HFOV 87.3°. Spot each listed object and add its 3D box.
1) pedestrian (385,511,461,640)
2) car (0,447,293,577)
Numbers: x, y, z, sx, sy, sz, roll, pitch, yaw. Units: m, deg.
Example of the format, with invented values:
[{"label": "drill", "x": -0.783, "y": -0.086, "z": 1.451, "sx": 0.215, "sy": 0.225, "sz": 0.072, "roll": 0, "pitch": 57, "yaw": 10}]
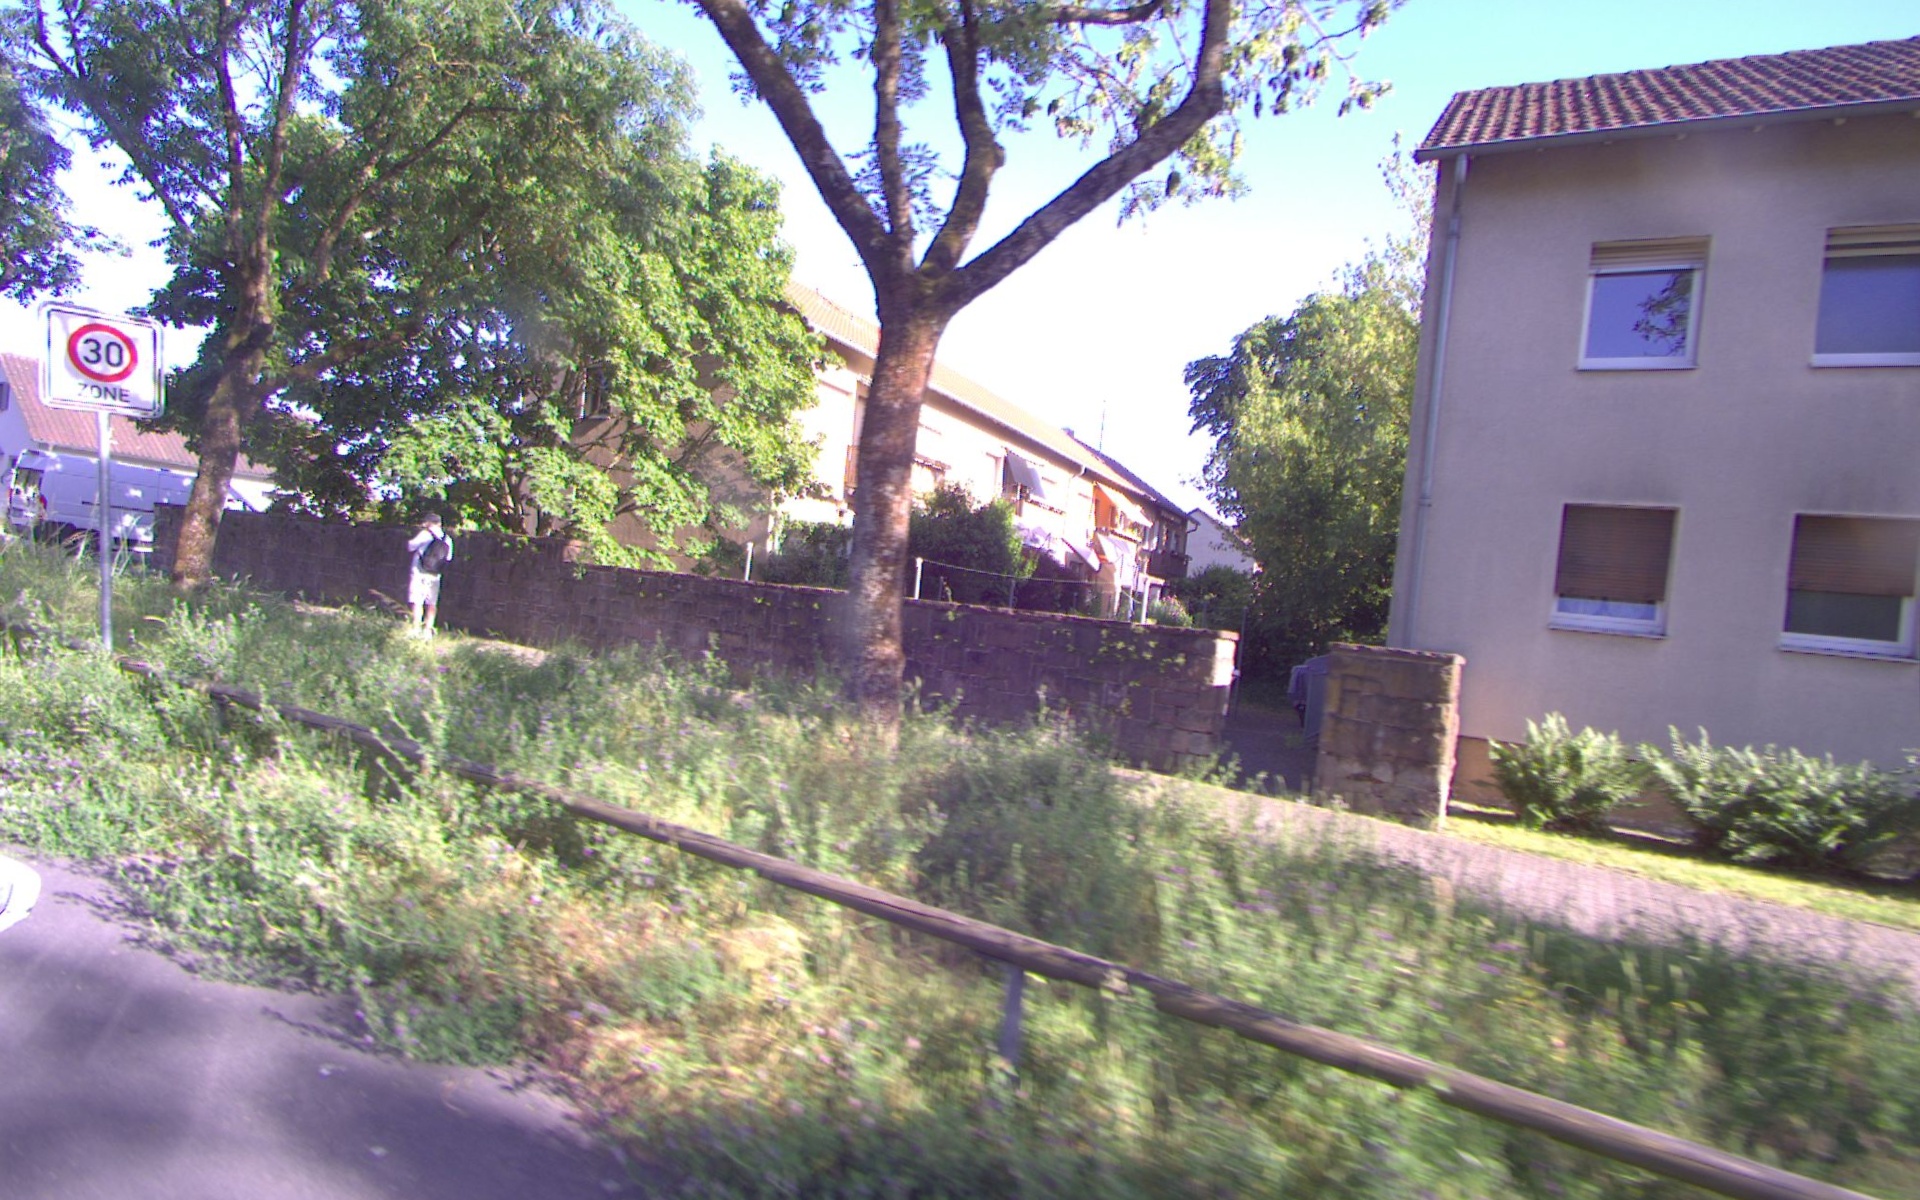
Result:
[{"label": "pedestrian", "x": -7.600, "y": -0.339, "z": 14.251, "sx": 0.602, "sy": 1.729, "sz": 0.637, "roll": 8, "pitch": 4, "yaw": 30}, {"label": "car", "x": -21.499, "y": -2.233, "z": 26.837, "sx": 2.227, "sy": 2.571, "sz": 5.603, "roll": 7, "pitch": 0, "yaw": 29}]
